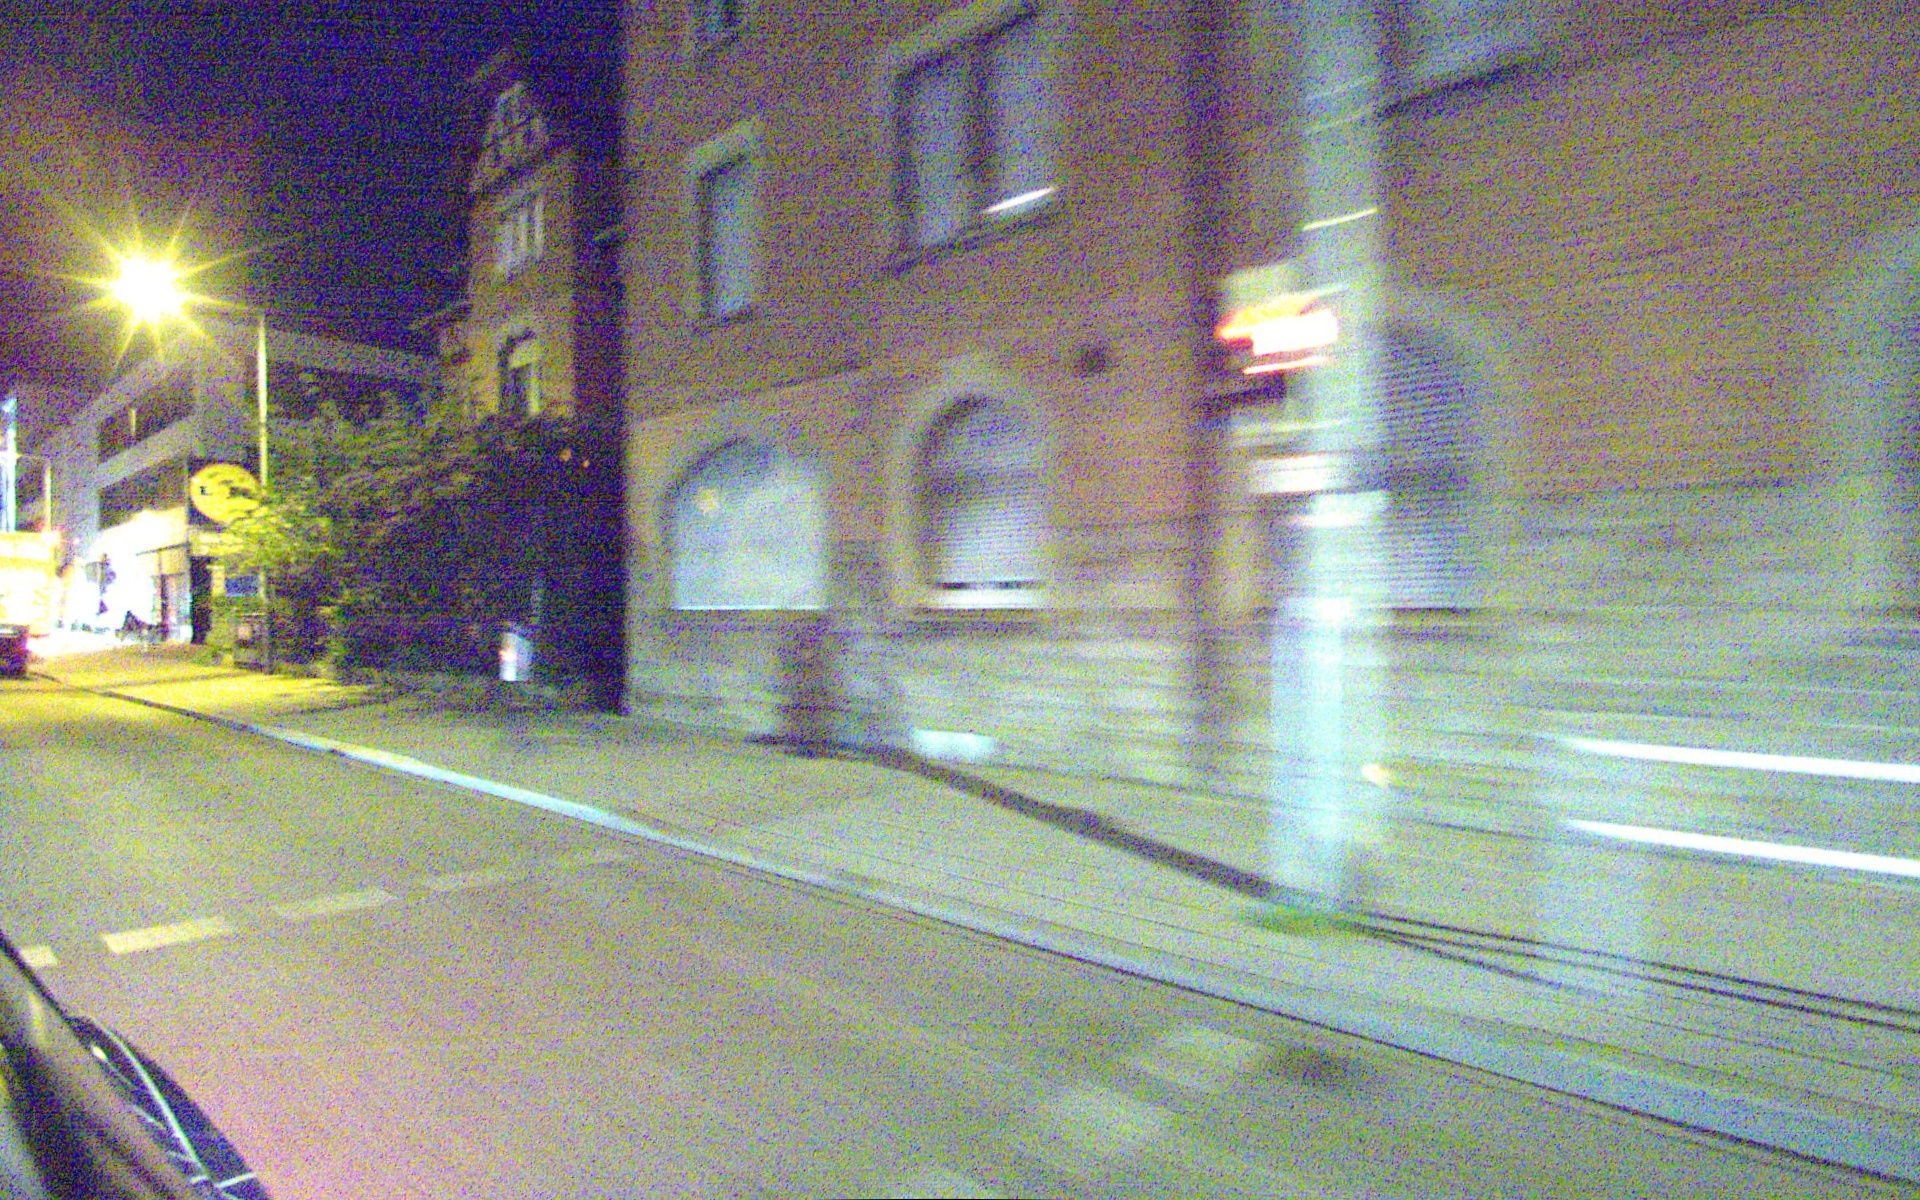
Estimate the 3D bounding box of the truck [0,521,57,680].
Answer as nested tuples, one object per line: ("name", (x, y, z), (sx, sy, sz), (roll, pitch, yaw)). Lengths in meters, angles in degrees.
("truck", (-26.755, 0.045, 26.818), (10.107, 3.746, 2.726), (-1, -4, 41))
